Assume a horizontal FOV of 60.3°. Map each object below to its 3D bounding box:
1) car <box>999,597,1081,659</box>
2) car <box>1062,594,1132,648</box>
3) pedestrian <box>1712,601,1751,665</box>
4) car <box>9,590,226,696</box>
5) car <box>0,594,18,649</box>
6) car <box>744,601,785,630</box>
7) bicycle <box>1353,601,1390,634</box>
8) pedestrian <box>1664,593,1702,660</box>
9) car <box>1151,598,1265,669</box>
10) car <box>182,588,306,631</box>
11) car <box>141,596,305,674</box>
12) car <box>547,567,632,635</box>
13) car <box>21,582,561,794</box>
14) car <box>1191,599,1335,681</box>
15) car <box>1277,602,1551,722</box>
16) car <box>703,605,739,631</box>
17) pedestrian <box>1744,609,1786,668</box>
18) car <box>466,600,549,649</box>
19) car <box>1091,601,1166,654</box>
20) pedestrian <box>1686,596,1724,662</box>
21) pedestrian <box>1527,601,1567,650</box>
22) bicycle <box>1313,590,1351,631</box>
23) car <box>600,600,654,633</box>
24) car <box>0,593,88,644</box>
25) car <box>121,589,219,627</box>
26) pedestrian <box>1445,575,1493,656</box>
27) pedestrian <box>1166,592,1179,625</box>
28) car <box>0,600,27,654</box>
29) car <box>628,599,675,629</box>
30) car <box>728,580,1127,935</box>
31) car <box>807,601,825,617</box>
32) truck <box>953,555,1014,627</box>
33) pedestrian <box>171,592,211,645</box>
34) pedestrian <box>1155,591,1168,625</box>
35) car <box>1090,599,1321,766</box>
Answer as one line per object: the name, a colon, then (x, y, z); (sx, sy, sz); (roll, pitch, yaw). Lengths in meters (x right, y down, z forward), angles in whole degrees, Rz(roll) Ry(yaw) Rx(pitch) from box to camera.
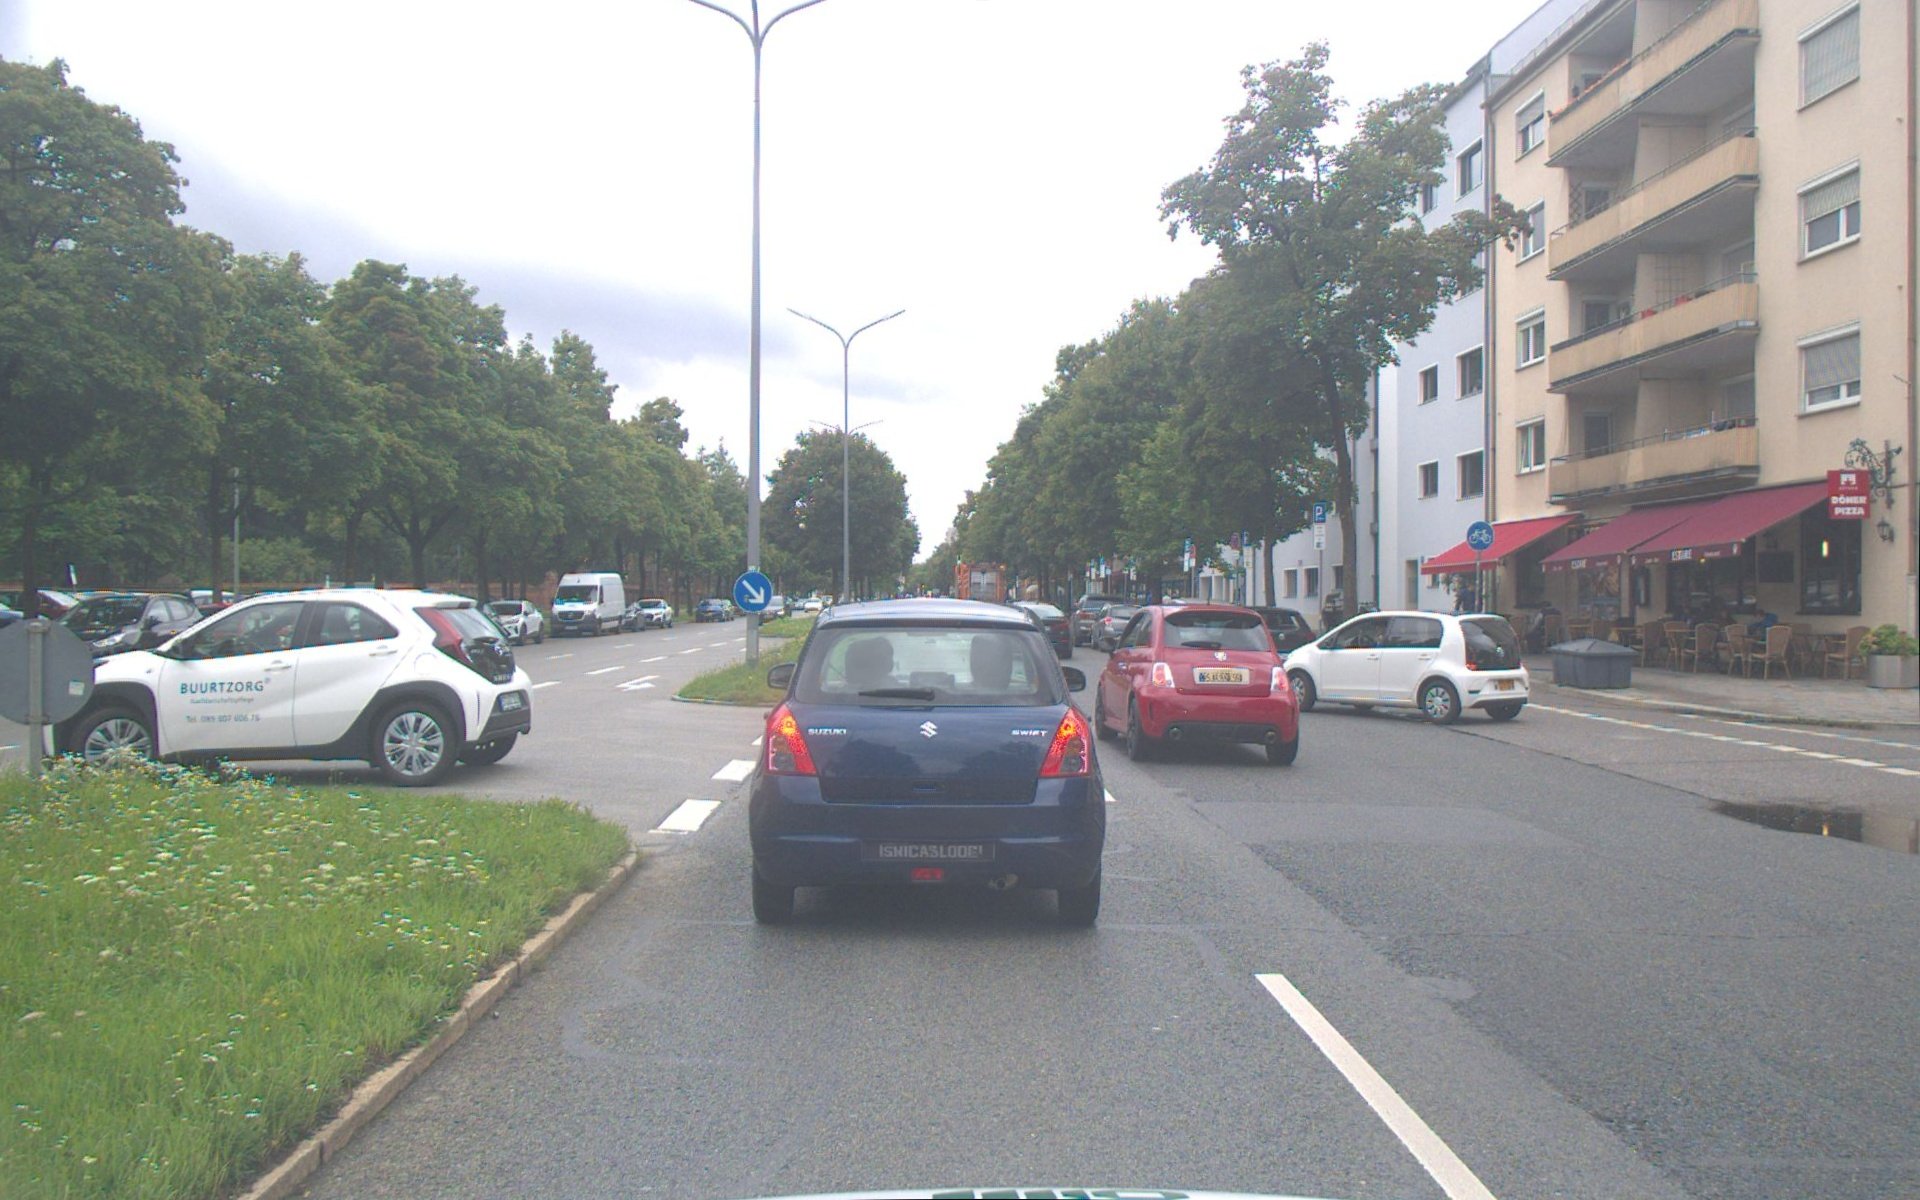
car: (2.093, 0.718, 44.425); (1.785, 1.503, 4.689); (2, 0, -2)
car: (4.596, 0.675, 55.912); (1.792, 1.776, 4.506); (0, 0, -3)
pedestrian: (14.855, 0.630, 31.843); (0.527, 1.235, 0.487); (0, 0, -1)
car: (-14.723, 0.742, 29.183); (1.785, 1.729, 4.237); (0, -1, -3)
car: (-27.623, 0.567, 43.886); (4.053, 1.467, 1.999); (0, 0, -4)
car: (-10.404, 0.823, 88.115); (1.779, 1.473, 4.780); (-1, 0, -2)
bicycle: (13.824, 0.570, 55.613); (0.609, 1.064, 2.195); (-4, 0, -1)
pedestrian: (14.874, 0.537, 34.051); (0.527, 1.362, 0.552); (0, 0, -2)
car: (5.739, 0.741, 38.779); (1.792, 1.549, 4.521); (0, 0, -3)
car: (-27.102, 0.346, 62.661); (3.905, 1.598, 1.814); (0, 0, 0)
car: (-15.177, 0.718, 34.276); (1.785, 1.505, 3.807); (0, -1, -3)
car: (-15.719, 0.123, 70.553); (2.096, 2.690, 7.102); (-1, -1, -1)
car: (-5.318, 0.661, 13.478); (3.631, 1.580, 1.828); (0, 0, 3)
car: (5.933, 0.748, 32.798); (1.794, 1.499, 3.883); (0, 0, -6)
car: (6.273, 0.797, 23.081); (1.676, 1.516, 3.386); (0, 0, -39)
car: (-15.718, 1.143, 108.972); (1.849, 1.564, 4.312); (-3, 0, -3)
pedestrian: (14.727, 0.700, 30.278); (0.527, 1.072, 0.487); (0, 0, -1)
car: (-15.378, 0.851, 56.374); (1.785, 1.554, 4.296); (-2, -1, -3)
car: (5.166, 0.813, 51.072); (1.793, 1.549, 3.769); (0, 0, -3)
pedestrian: (14.780, 0.566, 32.828); (0.527, 1.290, 0.486); (0, 0, -3)
pedestrian: (14.137, 0.611, 39.843); (0.728, 1.184, 0.646); (0, 0, -2)
bicycle: (13.509, 0.374, 60.129); (0.688, 1.432, 2.592); (-2, 0, -1)
car: (-15.724, 0.791, 78.294); (1.820, 1.517, 4.249); (0, -1, -3)
car: (-28.403, 0.531, 49.181); (3.911, 1.467, 1.997); (0, 0, -7)
car: (-43.464, 0.433, 91.104); (4.414, 2.070, 1.999); (0, 0, -2)
pedestrian: (12.436, 0.370, 40.408); (0.854, 1.963, 0.757); (0, 0, -17)
pedestrian: (10.980, 0.430, 85.361); (0.538, 1.658, 0.641); (-1, 0, -1)
car: (-28.643, 0.742, 46.276); (3.911, 1.467, 1.997); (0, 0, -7)
car: (-16.014, 0.730, 85.908); (1.820, 1.517, 4.140); (0, -1, -3)
car: (-0.156, 0.679, 9.155); (1.717, 1.531, 3.999); (0, 0, -1)
car: (-15.165, 0.941, 173.741); (1.726, 1.564, 4.311); (-3, 0, -4)
truck: (1.165, -0.457, 89.701); (2.979, 3.619, 13.672); (0, 0, -1)
pedestrian: (-22.609, 0.533, 48.651); (0.778, 1.521, 0.856); (0, 0, -1)
pedestrian: (10.399, 0.405, 85.335); (0.489, 1.763, 0.732); (-1, 0, -1)
car: (2.444, 0.761, 17.446); (1.684, 1.527, 4.299); (1, 0, -2)
